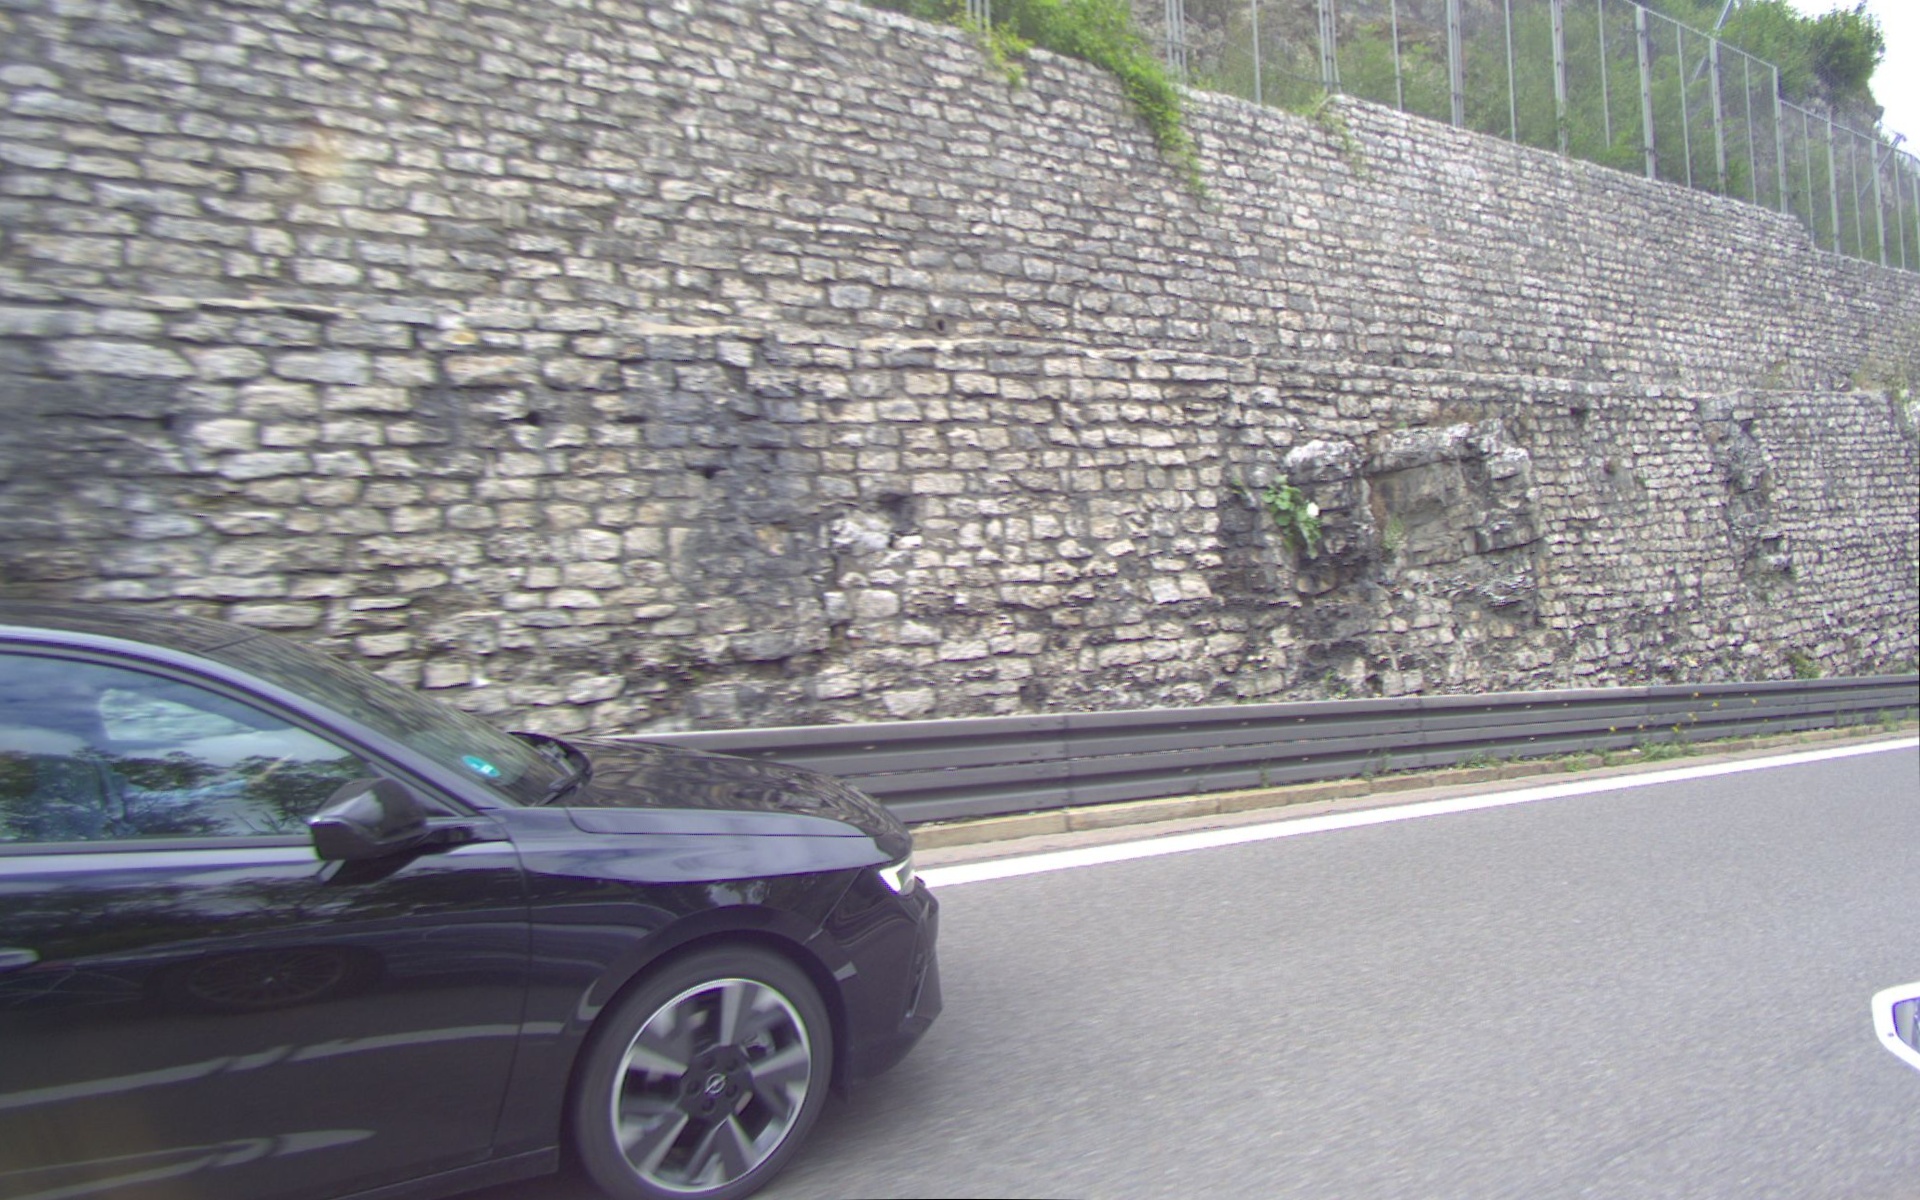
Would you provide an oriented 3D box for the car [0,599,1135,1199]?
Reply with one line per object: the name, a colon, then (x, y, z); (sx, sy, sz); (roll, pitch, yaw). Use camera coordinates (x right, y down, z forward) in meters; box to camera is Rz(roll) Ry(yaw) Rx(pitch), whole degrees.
car: (-1.882, 0.760, 2.607); (4.527, 1.480, 1.765); (1, 0, -30)
